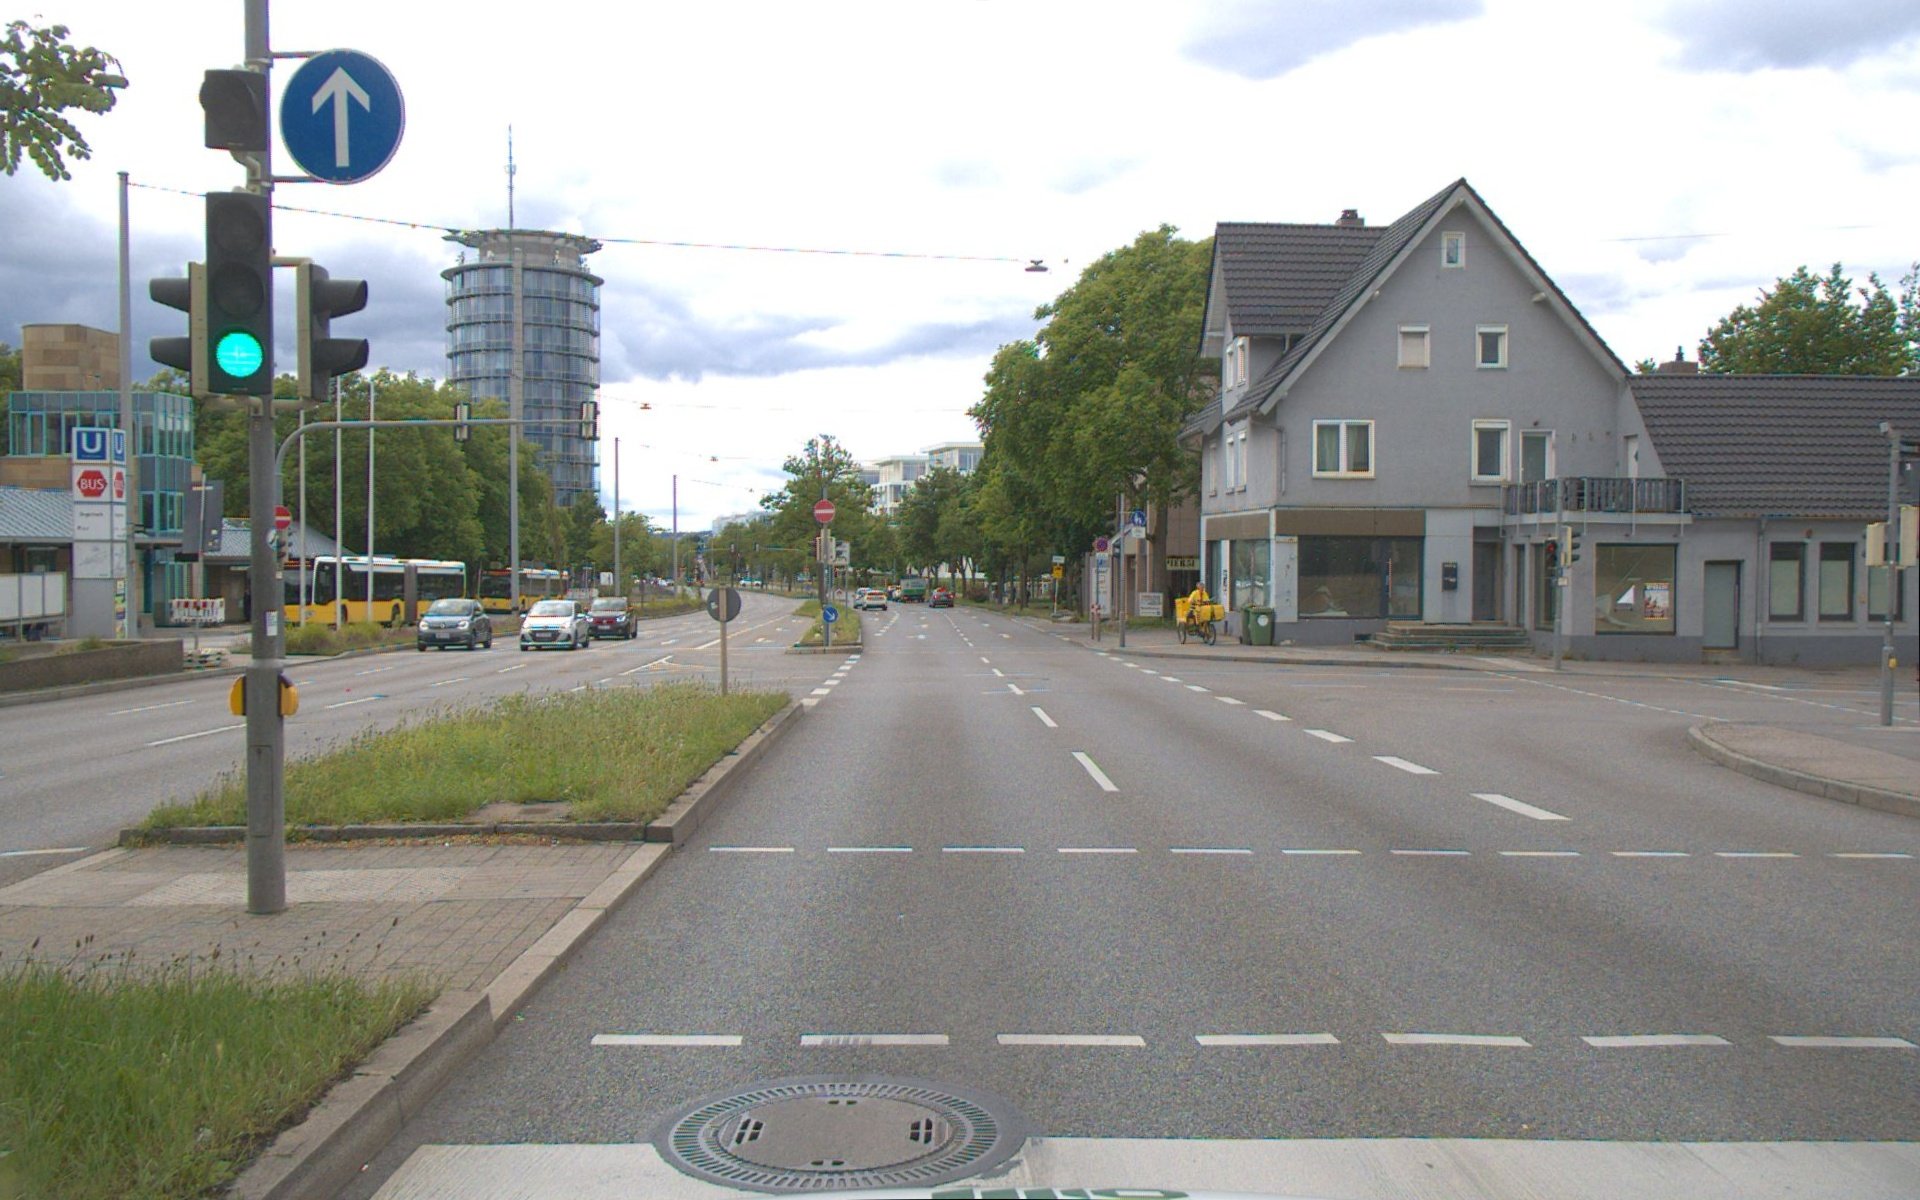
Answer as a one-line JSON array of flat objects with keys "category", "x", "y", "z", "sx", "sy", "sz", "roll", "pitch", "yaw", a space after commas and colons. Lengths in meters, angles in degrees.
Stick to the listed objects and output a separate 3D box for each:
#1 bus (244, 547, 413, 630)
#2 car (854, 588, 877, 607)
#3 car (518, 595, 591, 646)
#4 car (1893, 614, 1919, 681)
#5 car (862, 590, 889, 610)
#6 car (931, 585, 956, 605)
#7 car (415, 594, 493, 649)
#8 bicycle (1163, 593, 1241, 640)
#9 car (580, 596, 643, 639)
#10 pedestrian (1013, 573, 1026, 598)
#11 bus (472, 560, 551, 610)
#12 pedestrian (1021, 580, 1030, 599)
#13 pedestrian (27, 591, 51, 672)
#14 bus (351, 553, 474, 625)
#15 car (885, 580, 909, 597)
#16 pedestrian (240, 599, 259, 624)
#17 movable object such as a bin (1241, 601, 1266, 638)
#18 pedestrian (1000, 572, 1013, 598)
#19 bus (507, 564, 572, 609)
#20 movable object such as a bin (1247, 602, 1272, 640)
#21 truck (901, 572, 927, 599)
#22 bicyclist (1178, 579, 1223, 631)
[{"category": "bus", "x": -27.088, "y": -0.471, "z": 71.621, "sx": 2.927, "sy": 3.307, "sz": 10.174, "roll": -1, "pitch": 0, "yaw": 3}, {"category": "car", "x": -7.639, "y": -0.198, "z": 133.727, "sx": 1.786, "sy": 1.567, "sz": 4.112, "roll": -1, "pitch": 0, "yaw": -3}, {"category": "car", "x": -12.369, "y": 0.613, "z": 50.653, "sx": 1.651, "sy": 1.488, "sz": 3.552, "roll": 0, "pitch": 0, "yaw": -5}, {"category": "car", "x": 22.210, "y": 1.066, "z": 35.000, "sx": 3.908, "sy": 1.401, "sz": 1.869, "roll": 1, "pitch": 0, "yaw": -4}, {"category": "car", "x": -6.306, "y": -0.008, "z": 123.423, "sx": 1.954, "sy": 1.503, "sz": 4.253, "roll": -1, "pitch": 0, "yaw": -4}, {"category": "car", "x": -1.277, "y": -0.383, "z": 131.638, "sx": 1.850, "sy": 1.521, "sz": 4.099, "roll": -1, "pitch": 0, "yaw": 1}, {"category": "car", "x": -15.477, "y": 0.629, "z": 50.741, "sx": 1.652, "sy": 1.606, "sz": 3.344, "roll": 0, "pitch": 0, "yaw": -6}, {"category": "bicycle", "x": 6.562, "y": 0.429, "z": 44.983, "sx": 1.058, "sy": 1.239, "sz": 2.424, "roll": -1, "pitch": 0, "yaw": -20}, {"category": "car", "x": -12.809, "y": 0.620, "z": 60.904, "sx": 1.668, "sy": 1.518, "sz": 3.560, "roll": -1, "pitch": 0, "yaw": -2}, {"category": "pedestrian", "x": 4.868, "y": -1.162, "z": 134.691, "sx": 0.951, "sy": 2.011, "sz": 0.981, "roll": 1, "pitch": -1, "yaw": -2}, {"category": "bus", "x": -30.793, "y": -0.981, "z": 113.939, "sx": 3.082, "sy": 3.281, "sz": 10.279, "roll": 0, "pitch": 0, "yaw": -3}, {"category": "pedestrian", "x": 5.528, "y": -0.896, "z": 138.896, "sx": 0.638, "sy": 1.597, "sz": 0.669, "roll": 0, "pitch": 0, "yaw": -9}, {"category": "pedestrian", "x": -18.426, "y": 0.626, "z": 33.082, "sx": 0.414, "sy": 1.619, "sz": 0.353, "roll": 0, "pitch": 0, "yaw": -30}, {"category": "bus", "x": -26.551, "y": -0.514, "z": 80.645, "sx": 2.927, "sy": 3.327, "sz": 7.879, "roll": -1, "pitch": 0, "yaw": 3}, {"category": "car", "x": -6.614, "y": -1.193, "z": 173.709, "sx": 2.207, "sy": 1.676, "sz": 4.927, "roll": 0, "pitch": 0, "yaw": -6}, {"category": "pedestrian", "x": -30.054, "y": 0.483, "z": 69.953, "sx": 0.512, "sy": 1.076, "sz": 0.587, "roll": 1, "pitch": -1, "yaw": -1}, {"category": "movable object such as a bin", "x": 7.964, "y": 0.523, "z": 44.881, "sx": 0.518, "sy": 0.997, "sz": 0.736, "roll": 0, "pitch": 0, "yaw": -1}, {"category": "pedestrian", "x": 3.788, "y": -1.199, "z": 134.655, "sx": 0.951, "sy": 2.049, "sz": 0.981, "roll": 1, "pitch": -1, "yaw": -2}, {"category": "bus", "x": -31.155, "y": -0.986, "z": 122.938, "sx": 3.081, "sy": 3.281, "sz": 7.762, "roll": 0, "pitch": 0, "yaw": -2}, {"category": "movable object such as a bin", "x": 7.994, "y": 0.548, "z": 44.091, "sx": 0.518, "sy": 0.997, "sz": 0.736, "roll": 0, "pitch": 0, "yaw": -1}, {"category": "truck", "x": -4.359, "y": -1.358, "z": 156.355, "sx": 2.207, "sy": 2.459, "sz": 4.927, "roll": 0, "pitch": 0, "yaw": -5}, {"category": "bicyclist", "x": 6.545, "y": 0.129, "z": 45.018, "sx": 1.058, "sy": 1.380, "sz": 0.624, "roll": -1, "pitch": 0, "yaw": -21}]
